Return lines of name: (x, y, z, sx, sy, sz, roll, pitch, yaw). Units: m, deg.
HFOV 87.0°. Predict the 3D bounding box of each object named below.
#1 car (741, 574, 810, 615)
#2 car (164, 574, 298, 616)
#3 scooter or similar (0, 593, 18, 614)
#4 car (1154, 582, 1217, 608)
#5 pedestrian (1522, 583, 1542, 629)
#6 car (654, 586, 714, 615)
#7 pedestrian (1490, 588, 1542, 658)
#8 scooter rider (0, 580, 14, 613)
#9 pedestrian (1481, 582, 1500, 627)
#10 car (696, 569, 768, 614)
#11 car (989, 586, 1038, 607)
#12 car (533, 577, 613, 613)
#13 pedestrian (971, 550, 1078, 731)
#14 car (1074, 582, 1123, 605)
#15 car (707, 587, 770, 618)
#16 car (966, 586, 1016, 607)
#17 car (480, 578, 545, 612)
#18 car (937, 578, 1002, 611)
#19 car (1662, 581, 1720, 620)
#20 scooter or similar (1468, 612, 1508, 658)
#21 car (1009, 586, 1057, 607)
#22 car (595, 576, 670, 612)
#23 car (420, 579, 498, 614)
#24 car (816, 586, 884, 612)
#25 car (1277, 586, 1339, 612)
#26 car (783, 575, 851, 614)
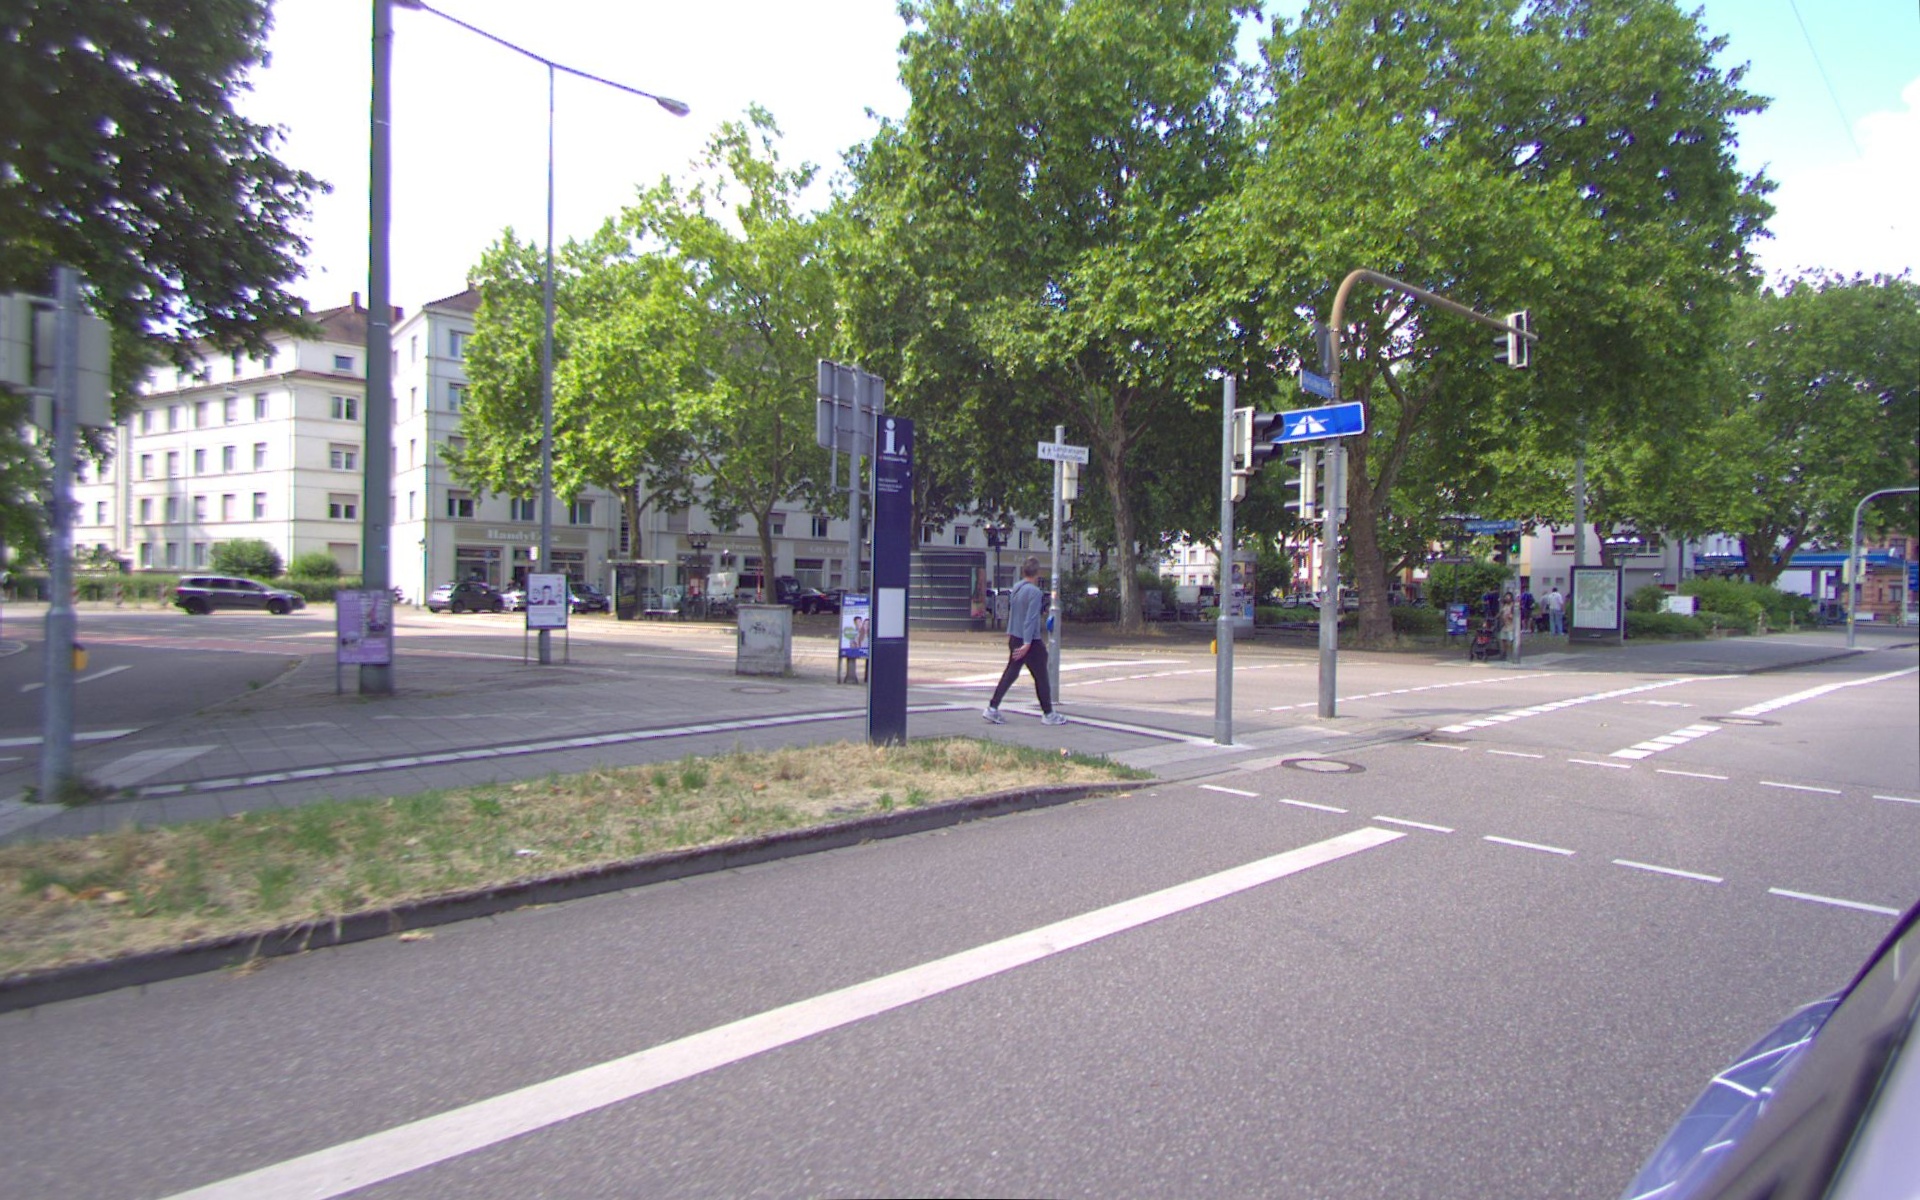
car: (-9.995, -0.304, 54.548, 1.964, 2.102, 3.995, 0, 0, -40)
car: (-30.456, -0.220, 42.408, 4.225, 1.682, 1.796, 1, 1, -21)
scooter or similar: (-53.027, 0.187, 56.246, 1.278, 1.105, 0.546, 1, 0, 25)
car: (17.497, -0.425, 78.646, 2.066, 1.929, 4.487, 0, 1, -38)
pedestrian: (22.183, 0.215, 39.272, 0.600, 1.772, 0.693, 1, 0, 26)
car: (-13.872, 0.028, 50.865, 3.224, 1.406, 1.447, 1, 0, 43)
pedestrian: (13.476, 0.545, 24.550, 0.905, 1.666, 0.570, 1, 0, -2)
scooter rider: (-53.068, -0.193, 56.263, 0.642, 1.835, 0.523, 1, 0, 25)
pedestrian: (21.198, 0.176, 40.445, 0.600, 1.772, 0.693, 1, 0, 26)
car: (-11.838, -0.430, 52.407, 1.964, 2.210, 4.252, 0, 0, -40)
car: (4.243, -0.302, 80.826, 1.713, 1.657, 3.997, 0, 1, -38)
car: (-18.194, -0.252, 47.479, 1.999, 1.620, 4.530, 0, 1, -42)
pedestrian: (0.675, 0.400, 10.637, 0.871, 1.806, 0.694, 1, 0, -38)
car: (12.037, -0.595, 88.102, 1.964, 1.989, 3.997, 0, 1, -38)
car: (-10.548, 0.109, 48.133, 3.054, 1.406, 1.448, 1, 0, 41)
car: (2.399, -0.295, 79.459, 1.713, 1.657, 3.997, 0, 1, -38)
car: (-24.839, -0.306, 56.118, 1.879, 1.818, 4.711, 0, 1, -43)
car: (0.593, -0.395, 64.712, 1.966, 2.039, 3.993, 0, 1, -42)
car: (47.328, -0.001, 65.488, 3.929, 2.450, 2.110, 0, 1, -40)
scooter or similar: (12.794, 0.840, 24.530, 0.695, 1.069, 0.491, 1, 0, -2)
car: (5.946, -0.312, 82.528, 1.713, 1.657, 3.997, 0, 1, -38)
car: (-16.291, -0.320, 50.168, 1.879, 1.711, 4.530, 0, 1, -42)
car: (-23.933, -0.180, 48.511, 1.669, 1.557, 3.460, 1, 1, 9)
car: (-6.281, -0.061, 57.559, 1.964, 1.440, 3.995, 0, 0, -40)
car: (25.698, -0.114, 74.738, 1.835, 1.823, 3.997, 0, 1, -38)
car: (-7.920, -0.309, 55.865, 1.964, 2.102, 3.995, 0, 0, -40)
